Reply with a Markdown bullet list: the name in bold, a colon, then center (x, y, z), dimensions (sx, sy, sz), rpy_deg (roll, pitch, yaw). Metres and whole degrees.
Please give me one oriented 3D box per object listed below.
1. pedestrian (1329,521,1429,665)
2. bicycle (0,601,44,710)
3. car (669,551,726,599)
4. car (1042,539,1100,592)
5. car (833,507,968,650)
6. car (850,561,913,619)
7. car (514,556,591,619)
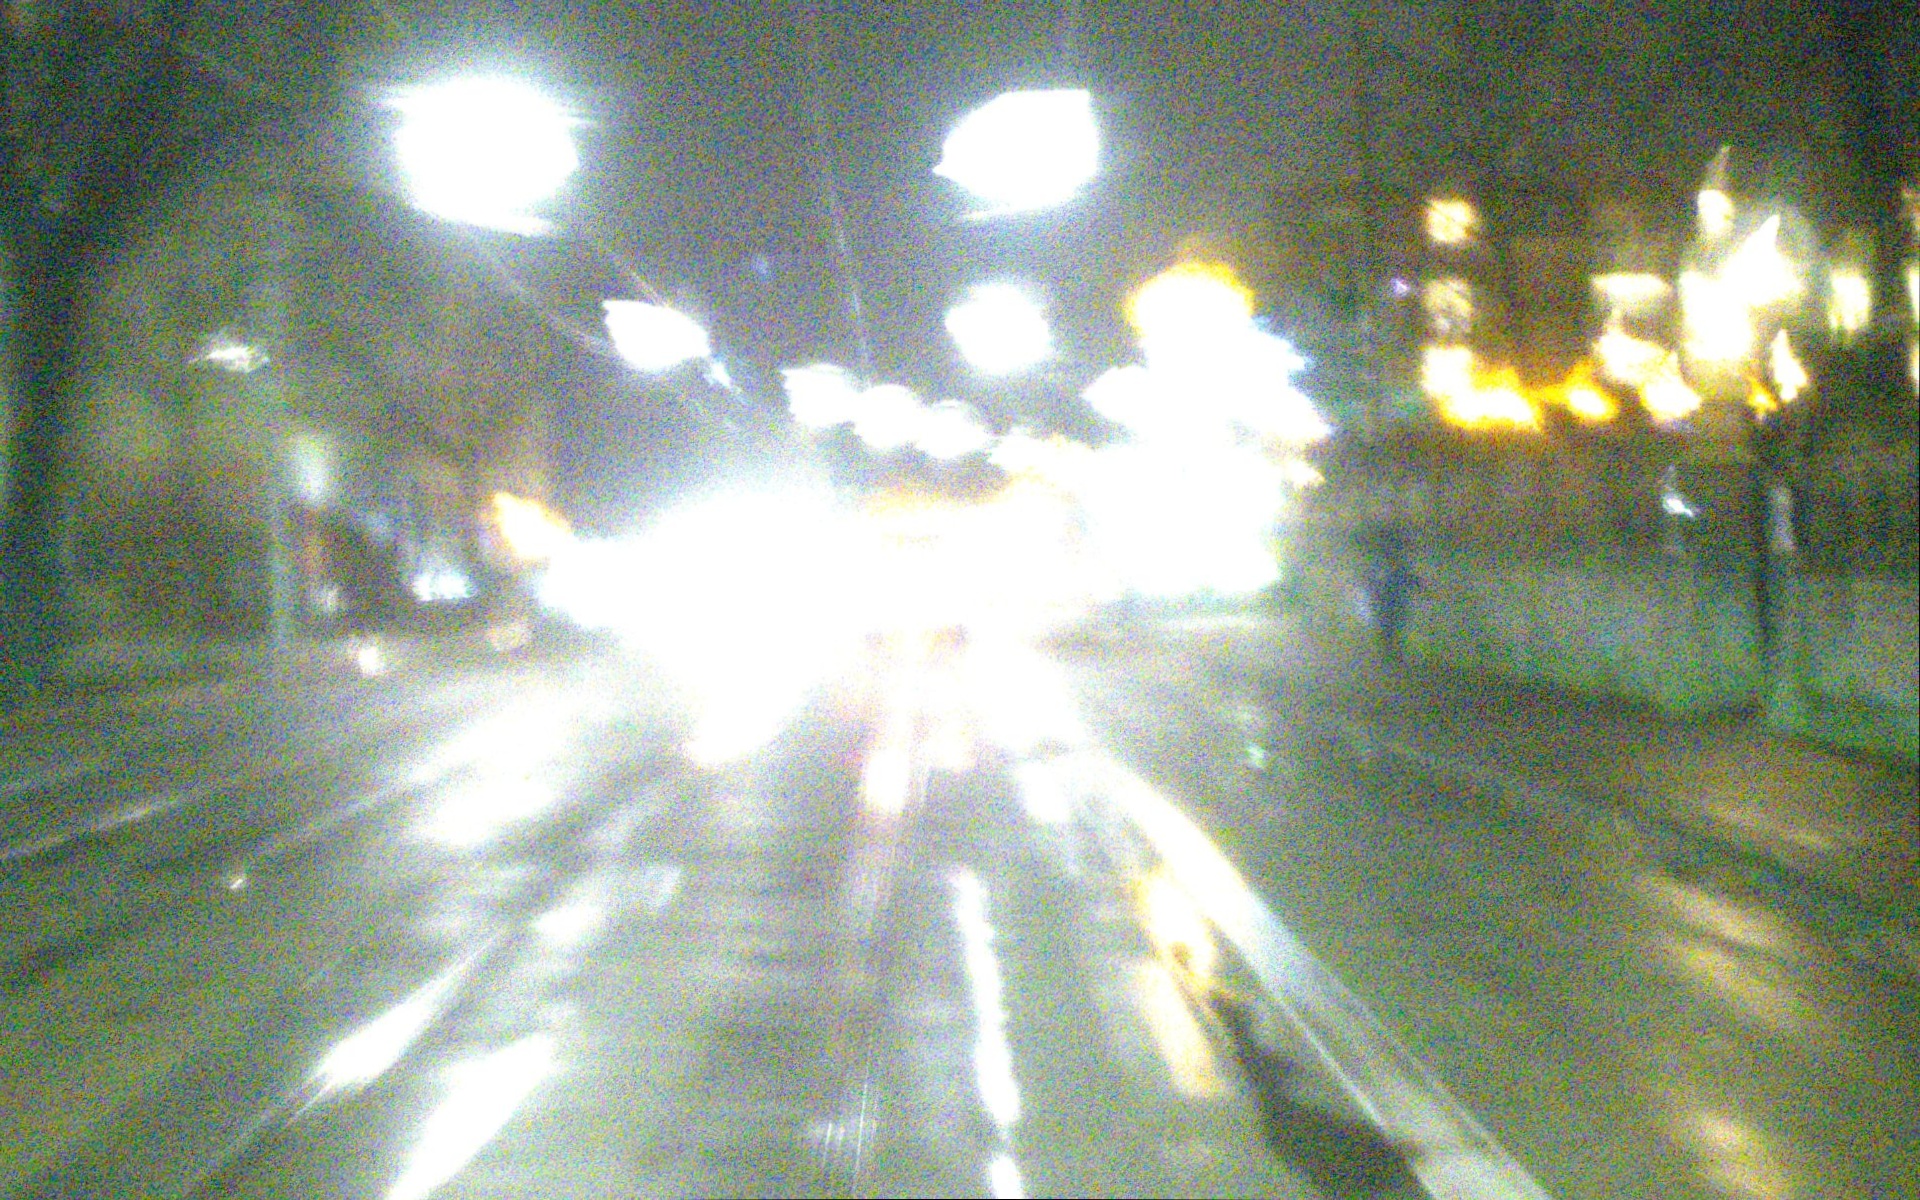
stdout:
- **pedestrian**: center (5.006, -0.087, 41.112), dimensions (0.939, 1.658, 0.994), rpy_deg (-3, 1, -5)
- **bicycle**: center (-10.212, 0.555, 34.527), dimensions (1.853, 1.074, 0.628), rpy_deg (0, 0, 0)
- **car**: center (-9.526, -0.918, 124.957), dimensions (1.993, 1.718, 4.077), rpy_deg (0, 1, -4)
- **car**: center (4.233, -1.320, 131.286), dimensions (1.993, 2.007, 4.000), rpy_deg (0, 1, -1)
- **car**: center (-1.055, -0.382, 59.312), dimensions (2.244, 2.353, 4.394), rpy_deg (0, 1, -2)
- **car**: center (-2.537, -0.342, 111.149), dimensions (1.993, 1.809, 4.000), rpy_deg (0, 1, -1)
- **car**: center (-13.282, -0.425, 112.177), dimensions (1.993, 2.007, 4.000), rpy_deg (0, 1, 0)
